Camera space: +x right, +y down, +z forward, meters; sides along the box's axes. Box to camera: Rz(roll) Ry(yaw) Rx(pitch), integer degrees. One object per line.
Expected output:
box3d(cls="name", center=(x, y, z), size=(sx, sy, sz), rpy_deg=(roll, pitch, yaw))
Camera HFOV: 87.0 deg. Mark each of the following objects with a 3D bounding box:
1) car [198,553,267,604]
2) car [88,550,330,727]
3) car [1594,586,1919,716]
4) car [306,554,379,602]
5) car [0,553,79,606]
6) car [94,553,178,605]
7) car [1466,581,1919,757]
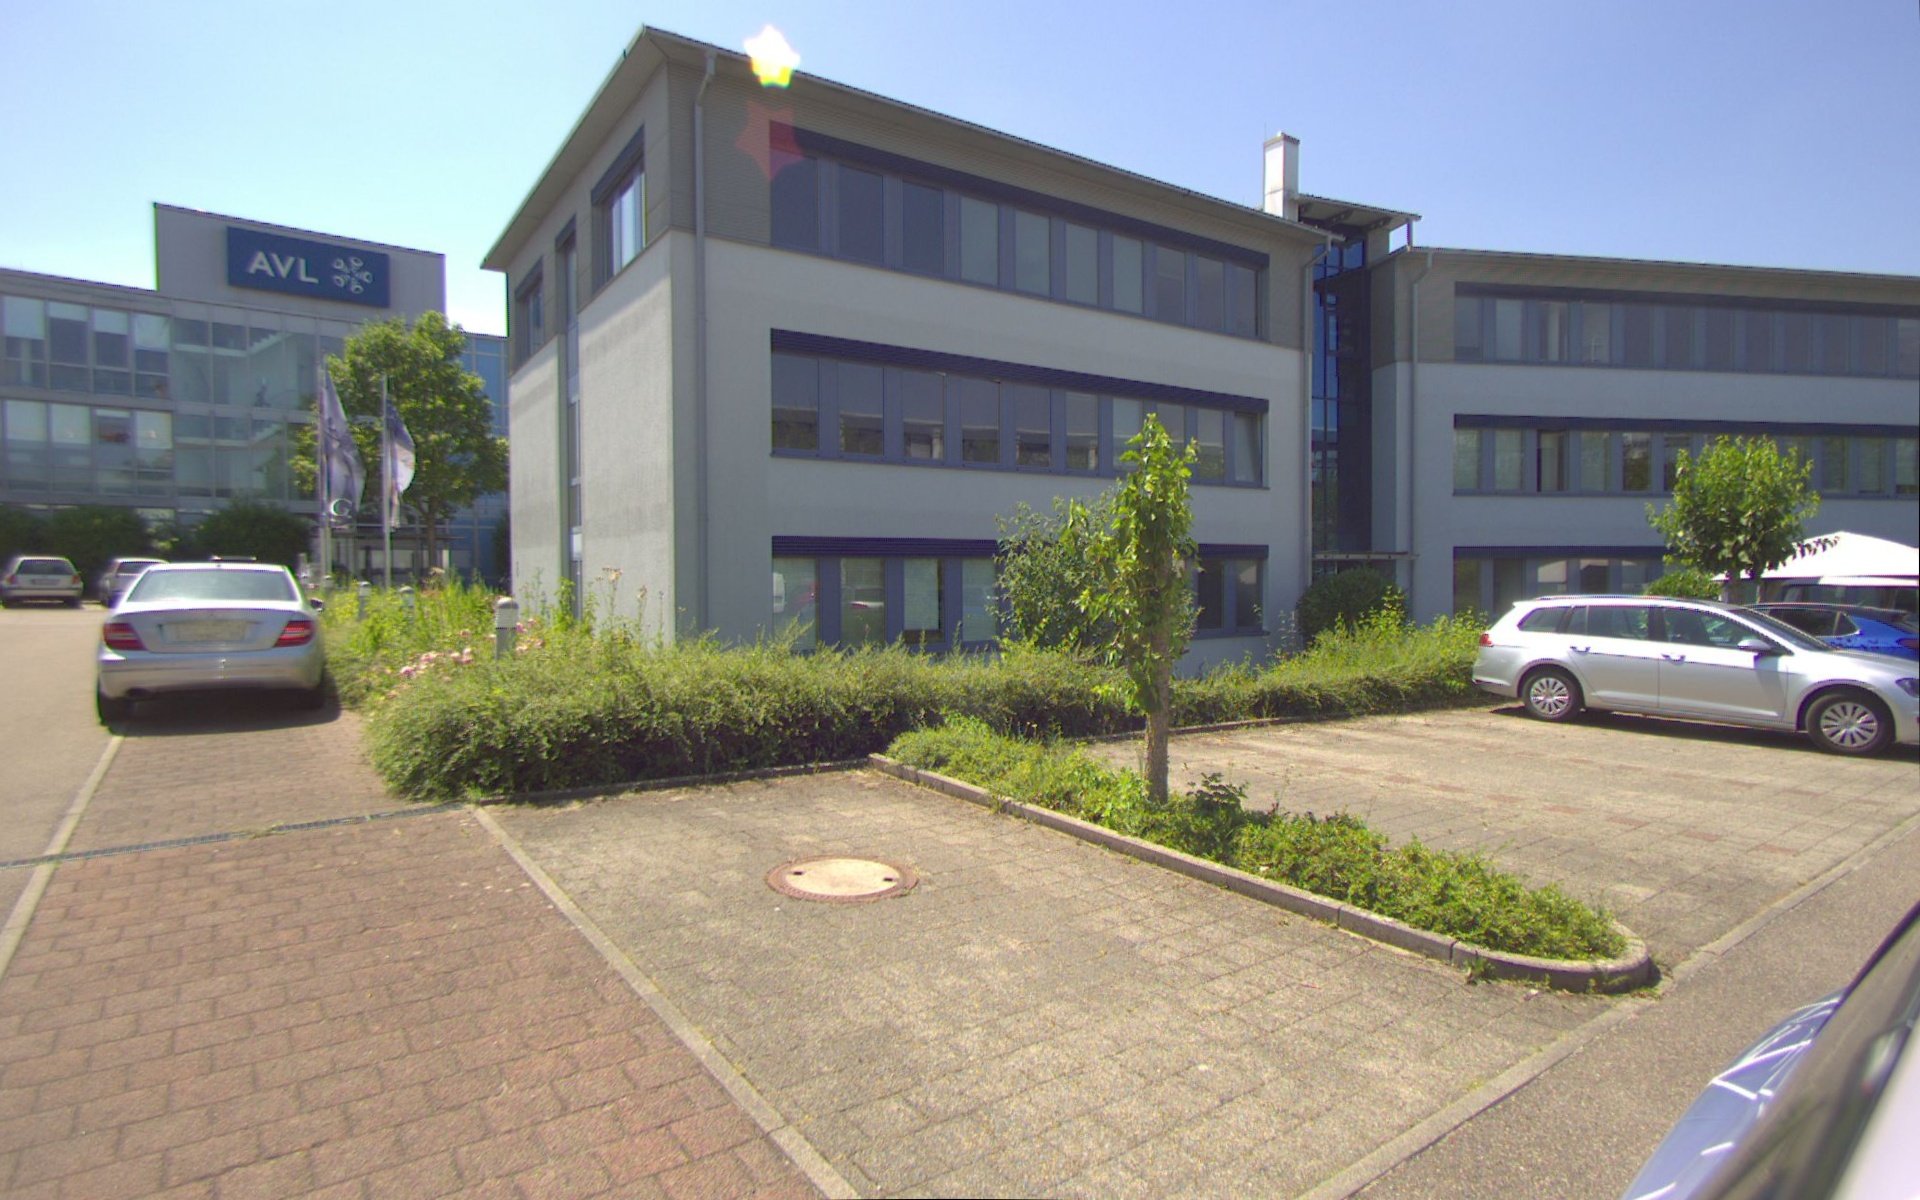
box3d(cls="car", center=(-23.575, -0.695, 32.735), size=(1.717, 1.538, 3.998), rpy_deg=(0, 1, -37))
box3d(cls="car", center=(-7.582, 0.286, 10.337), size=(1.697, 1.454, 3.716), rpy_deg=(0, 1, -36))
box3d(cls="car", center=(10.926, 0.582, 13.527), size=(1.622, 1.409, 3.825), rpy_deg=(0, 2, -38))
box3d(cls="car", center=(-21.014, -0.725, 34.372), size=(1.717, 1.538, 3.998), rpy_deg=(0, 1, -37))
box3d(cls="car", center=(-27.148, -0.596, 29.791), size=(1.647, 1.458, 3.990), rpy_deg=(0, 1, -44))
box3d(cls="car", center=(-25.821, -0.652, 31.682), size=(1.721, 1.538, 3.990), rpy_deg=(0, 1, -44))
box3d(cls="car", center=(8.282, 0.593, 11.123), size=(1.796, 1.516, 4.518), rpy_deg=(0, 2, -38))
